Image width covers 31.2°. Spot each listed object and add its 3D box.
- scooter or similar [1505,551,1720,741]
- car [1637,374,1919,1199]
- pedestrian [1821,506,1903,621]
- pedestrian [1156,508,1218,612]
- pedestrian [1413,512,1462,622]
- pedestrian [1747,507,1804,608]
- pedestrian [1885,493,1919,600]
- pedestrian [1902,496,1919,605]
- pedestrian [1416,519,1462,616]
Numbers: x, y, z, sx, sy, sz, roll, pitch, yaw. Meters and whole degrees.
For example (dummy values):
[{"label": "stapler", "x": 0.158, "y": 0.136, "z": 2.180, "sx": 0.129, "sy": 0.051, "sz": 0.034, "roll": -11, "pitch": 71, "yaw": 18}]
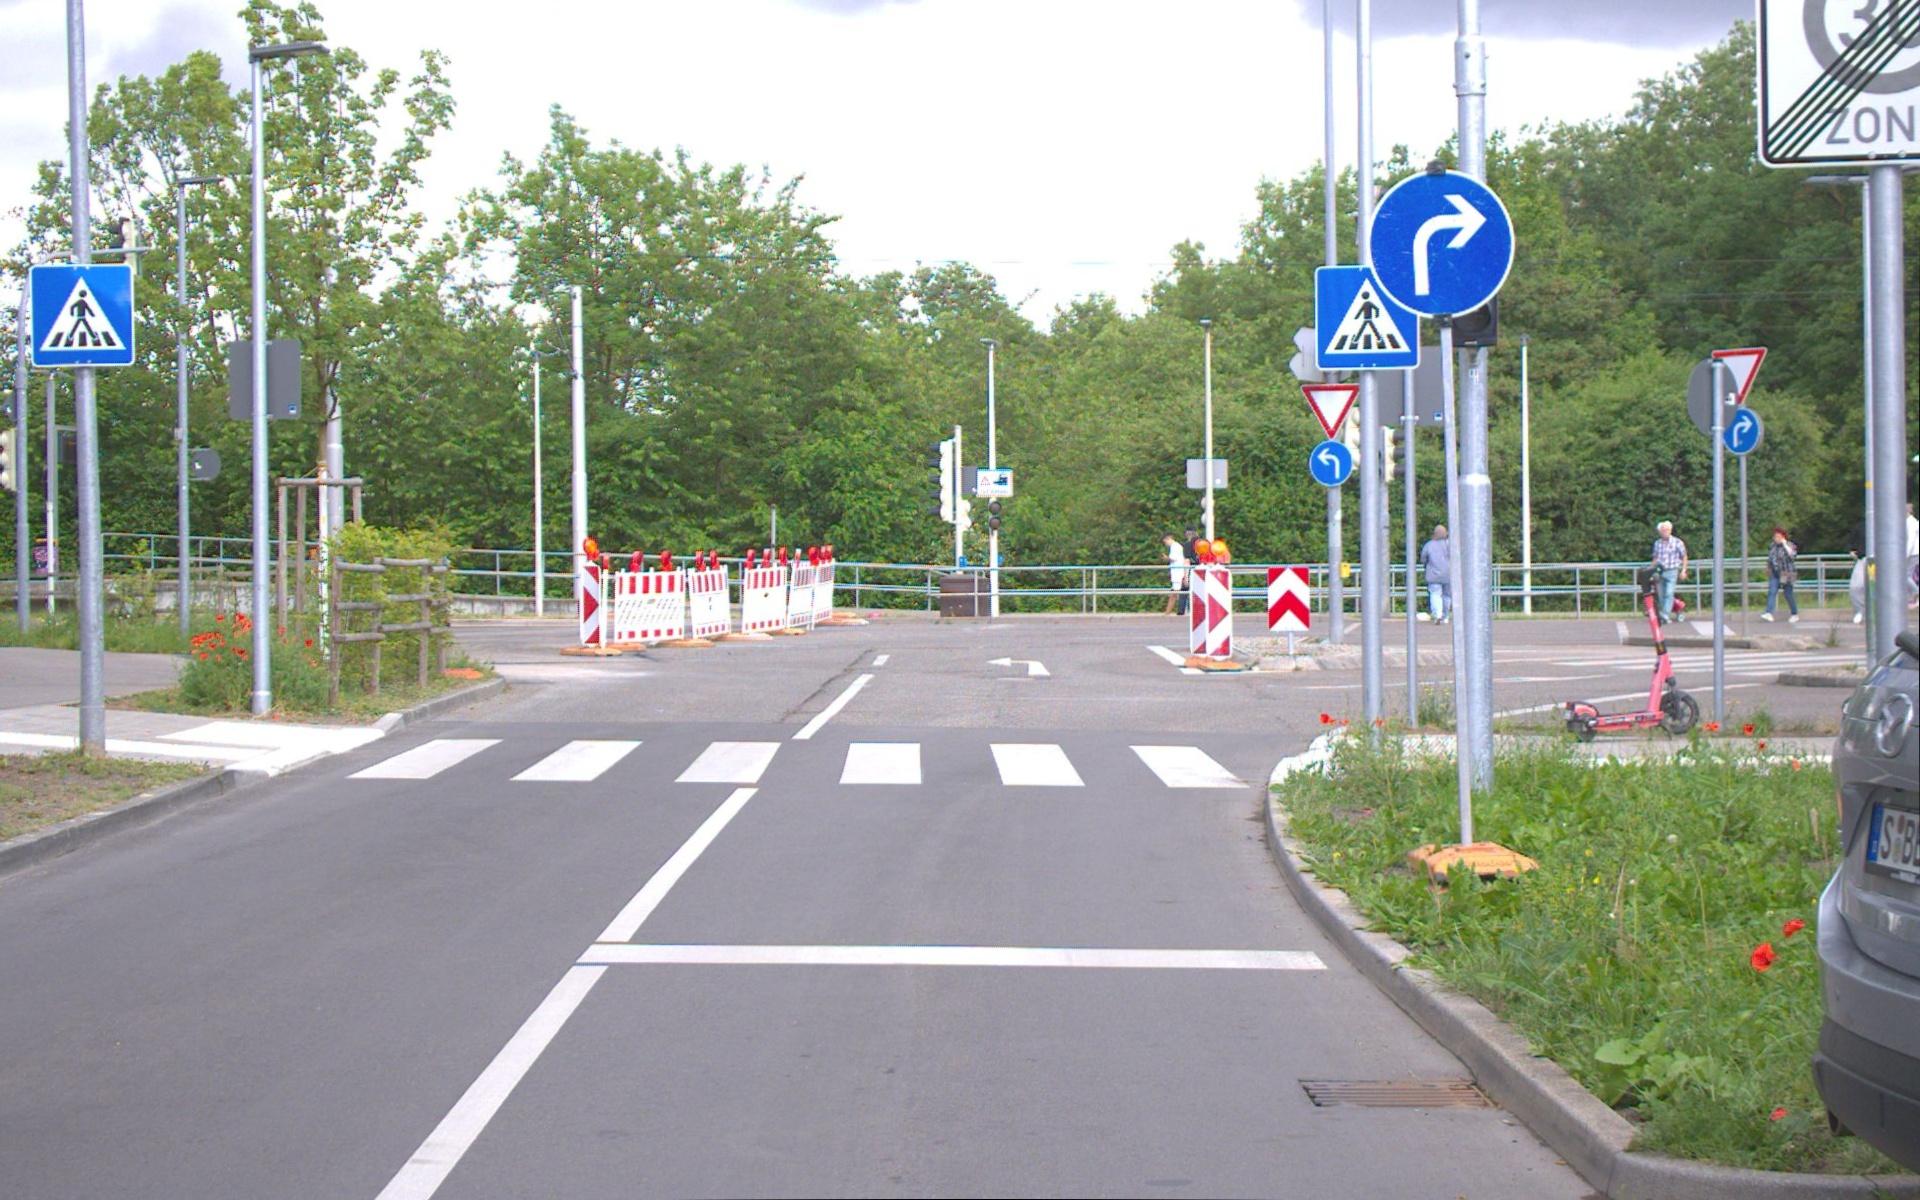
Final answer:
[{"label": "scooter or similar", "x": 4.634, "y": 0.311, "z": 24.395, "sx": 1.520, "sy": 1.308, "sz": 0.572, "roll": -1, "pitch": 1, "yaw": -32}, {"label": "car", "x": 3.807, "y": 0.409, "z": 6.143, "sx": 4.647, "sy": 1.746, "sz": 2.070, "roll": -2, "pitch": 1, "yaw": -5}, {"label": "pedestrian", "x": 13.869, "y": -0.562, "z": 52.848, "sx": 0.956, "sy": 1.741, "sz": 1.060, "roll": 0, "pitch": 1, "yaw": 30}, {"label": "pedestrian", "x": 3.843, "y": -0.684, "z": 58.200, "sx": 0.955, "sy": 1.742, "sz": 0.722, "roll": 0, "pitch": 1, "yaw": 11}, {"label": "pedestrian", "x": 7.613, "y": -0.531, "z": 54.796, "sx": 0.720, "sy": 1.742, "sz": 0.957, "roll": 0, "pitch": 1, "yaw": 11}, {"label": "pedestrian", "x": 12.805, "y": -0.668, "z": 53.982, "sx": 0.691, "sy": 1.561, "sz": 0.731, "roll": 0, "pitch": 1, "yaw": 30}, {"label": "pedestrian", "x": 15.613, "y": -0.875, "z": 56.559, "sx": 0.721, "sy": 1.742, "sz": 0.956, "roll": 0, "pitch": 1, "yaw": 17}, {"label": "pedestrian", "x": 15.542, "y": -0.792, "z": 55.287, "sx": 0.721, "sy": 1.742, "sz": 0.956, "roll": 0, "pitch": 1, "yaw": 17}, {"label": "pedestrian", "x": 8.053, "y": -0.550, "z": 57.770, "sx": 0.720, "sy": 1.616, "sz": 0.805, "roll": 0, "pitch": 1, "yaw": 11}]
